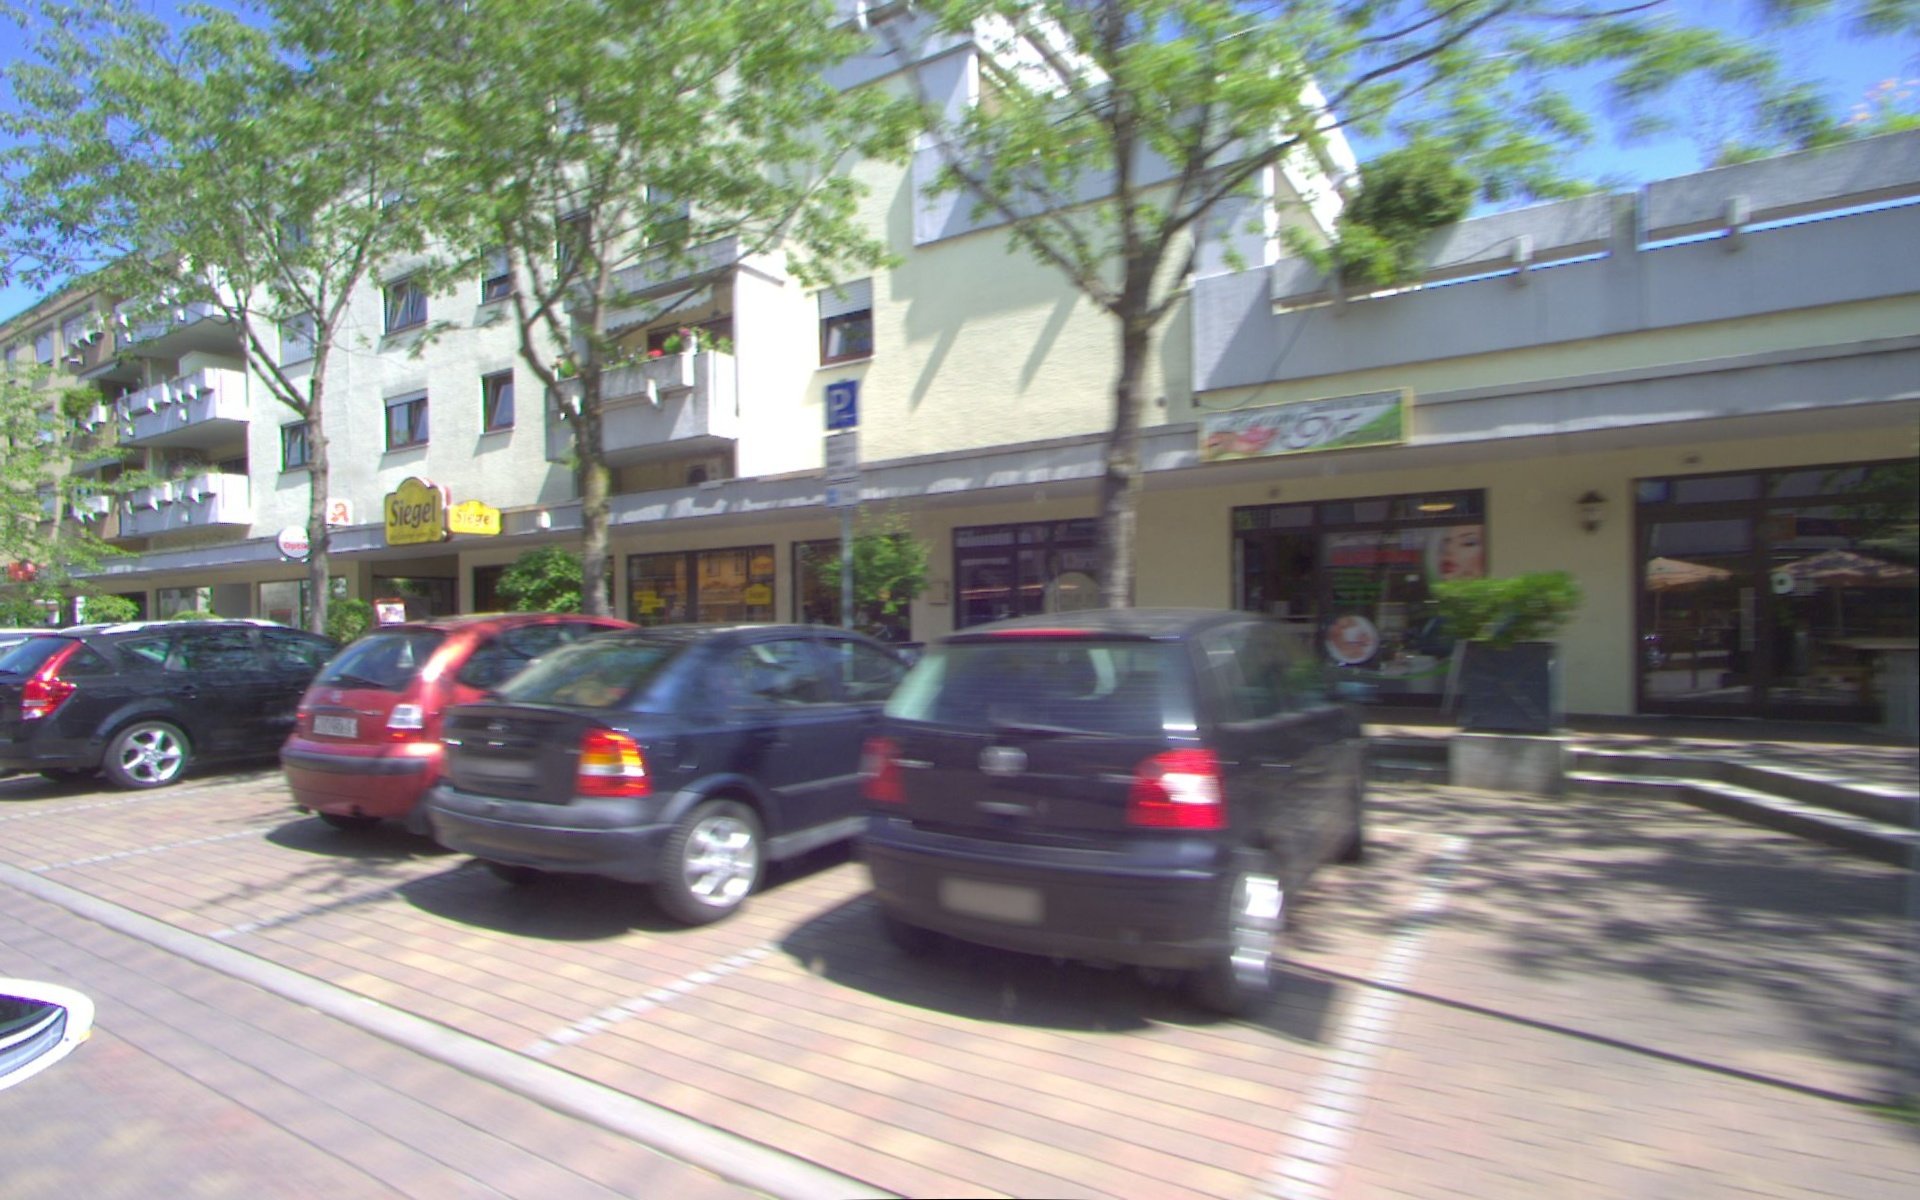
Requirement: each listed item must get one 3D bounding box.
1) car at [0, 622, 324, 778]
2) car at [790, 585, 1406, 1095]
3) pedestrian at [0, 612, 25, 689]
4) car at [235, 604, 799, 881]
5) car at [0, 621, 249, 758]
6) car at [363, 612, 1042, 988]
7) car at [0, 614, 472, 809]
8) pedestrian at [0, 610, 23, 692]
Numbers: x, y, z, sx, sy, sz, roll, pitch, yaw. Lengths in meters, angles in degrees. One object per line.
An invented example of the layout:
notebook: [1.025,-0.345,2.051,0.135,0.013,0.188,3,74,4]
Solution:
car: [-9.699,1.040,11.289,1.694,1.509,3.923,-1,-1,37]
car: [1.097,0.737,5.153,1.746,1.530,3.952,-1,0,31]
pedestrian: [-22.868,1.197,23.700,0.794,1.810,0.837,0,0,26]
car: [-3.177,0.853,7.891,1.740,1.555,3.715,-1,1,32]
car: [-11.841,1.091,12.821,1.734,1.594,4.143,0,-1,33]
car: [-1.187,0.853,6.328,1.758,1.450,4.088,0,1,31]
car: [-7.631,0.963,10.519,1.916,1.561,4.178,-1,-1,28]
pedestrian: [-21.683,1.139,22.531,0.798,1.810,0.832,0,0,45]
